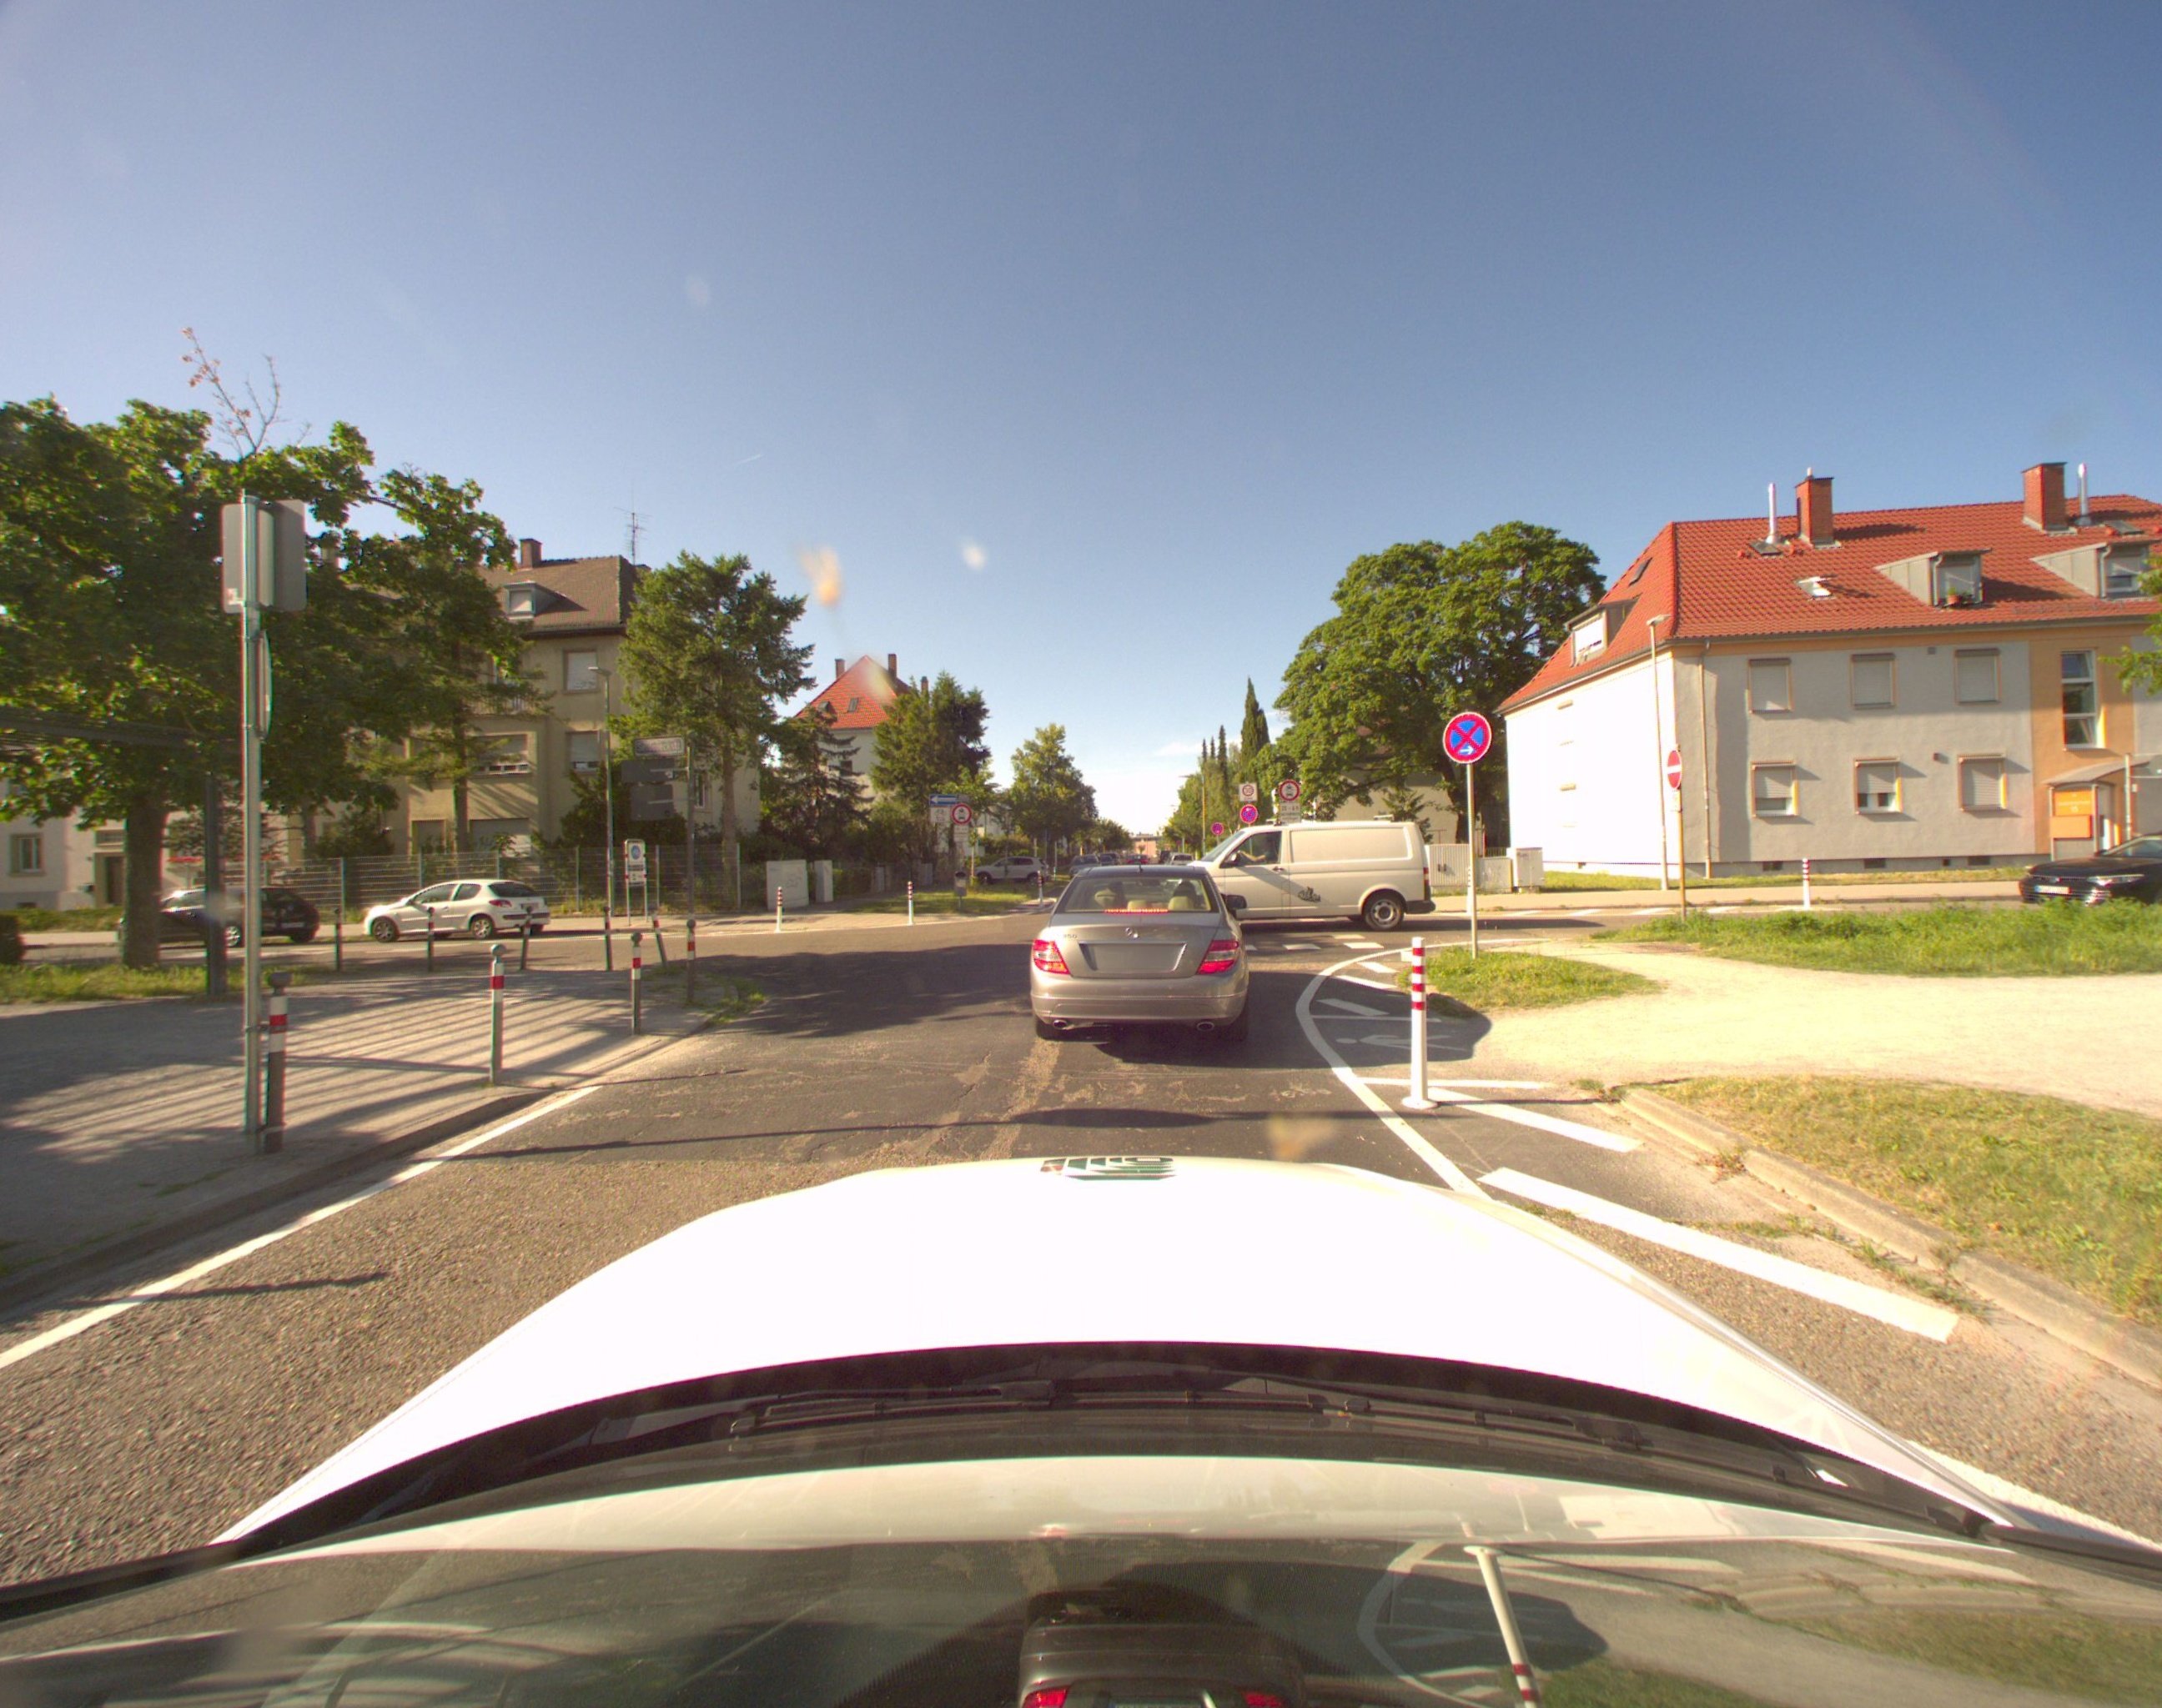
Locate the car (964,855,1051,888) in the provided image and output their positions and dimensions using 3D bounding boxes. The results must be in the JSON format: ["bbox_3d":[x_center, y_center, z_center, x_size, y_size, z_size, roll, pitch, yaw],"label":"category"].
[{"bbox_3d":[-3.691,0.855,41.321,4.176,1.564,1.843,-1,0,1],"label":"car"}]

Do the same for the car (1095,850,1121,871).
[{"bbox_3d":[2.346,0.550,69.776,1.986,1.609,4.003,-5,0,3],"label":"car"}]

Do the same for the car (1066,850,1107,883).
[{"bbox_3d":[0.355,0.659,46.220,1.986,1.609,4.003,-5,0,3],"label":"car"}]

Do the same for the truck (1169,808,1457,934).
[{"bbox_3d":[4.129,0.296,15.217,4.836,2.036,2.003,-2,0,4],"label":"truck"}]

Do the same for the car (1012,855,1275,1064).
[{"bbox_3d":[0.635,0.756,7.753,1.827,1.441,4.007,-1,0,6],"label":"car"}]

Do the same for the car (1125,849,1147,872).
[{"bbox_3d":[4.128,0.448,61.455,1.590,1.609,3.646,-2,0,3],"label":"car"}]

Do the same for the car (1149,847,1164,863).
[{"bbox_3d":[9.591,0.106,103.846,1.846,1.841,4.005,-2,0,4],"label":"car"}]

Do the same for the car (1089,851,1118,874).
[{"bbox_3d":[1.803,0.621,63.994,1.986,1.609,4.003,-5,0,3],"label":"car"}]

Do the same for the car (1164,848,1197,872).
[{"bbox_3d":[7.162,0.398,58.886,1.985,1.609,4.003,-2,0,3],"label":"car"}]

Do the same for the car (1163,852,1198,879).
[{"bbox_3d":[5.849,0.637,48.163,1.726,1.480,3.728,-2,0,3],"label":"car"}]

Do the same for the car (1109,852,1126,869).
[{"bbox_3d":[4.000,0.702,89.138,1.727,1.609,3.938,-5,0,3],"label":"car"}]

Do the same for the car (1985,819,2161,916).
[{"bbox_3d":[19.046,0.153,13.899,4.716,1.524,2.003,-2,0,5],"label":"car"}]

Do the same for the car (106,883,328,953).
[{"bbox_3d":[-21.044,1.537,19.918,3.796,1.494,1.679,-2,-1,4],"label":"car"}]

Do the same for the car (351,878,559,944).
[{"bbox_3d":[-15.061,1.350,19.703,3.747,1.398,1.709,-2,-1,4],"label":"car"}]
